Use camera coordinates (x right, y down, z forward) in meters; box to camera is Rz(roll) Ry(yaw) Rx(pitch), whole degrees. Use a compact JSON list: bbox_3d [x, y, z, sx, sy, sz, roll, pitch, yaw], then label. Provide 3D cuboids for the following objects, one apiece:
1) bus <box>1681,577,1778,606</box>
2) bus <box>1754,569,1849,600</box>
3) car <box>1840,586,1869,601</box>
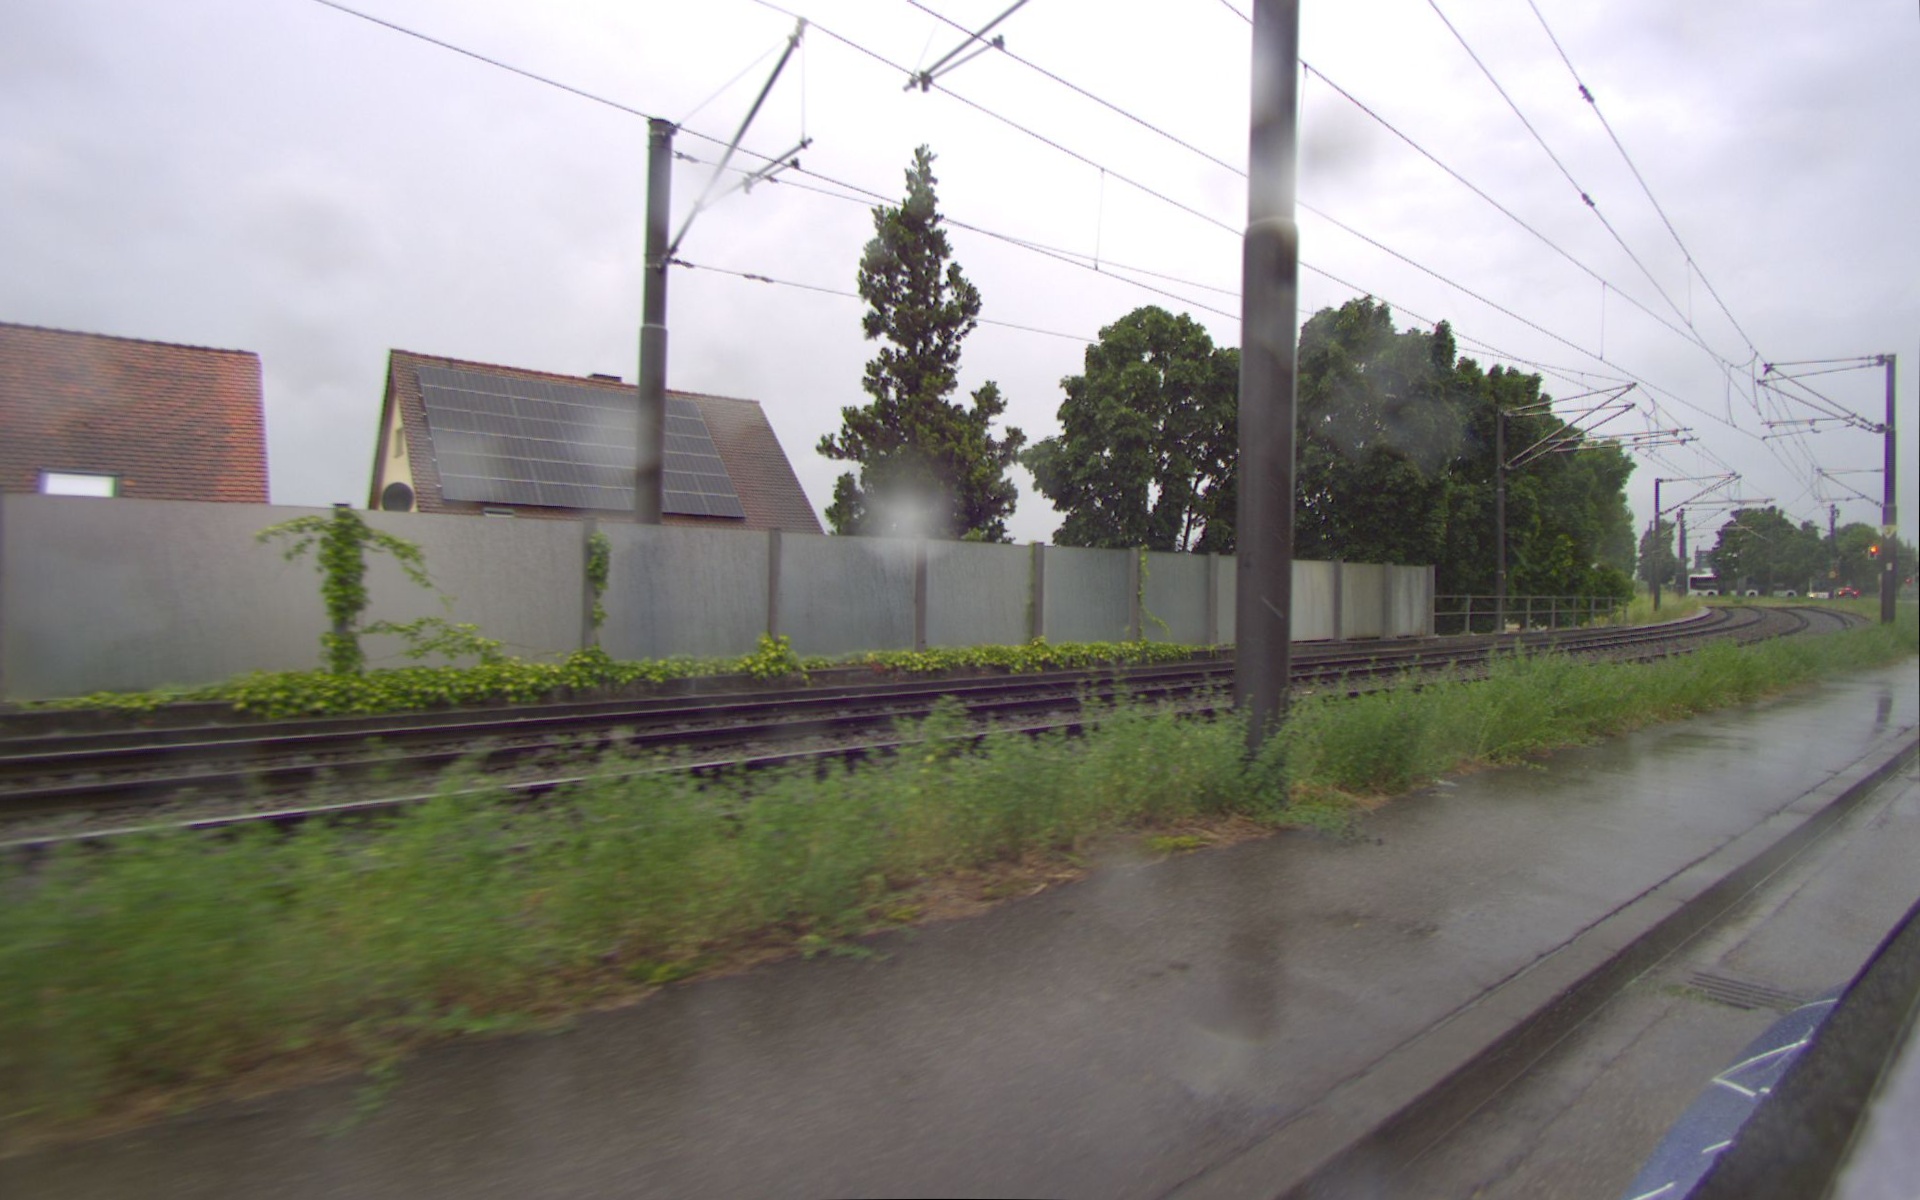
[{"bbox_3d":[88.806,-1.001,117.071,2.624,3.116,10.009,-1,1,-7],"label":"bus"},{"bbox_3d":[88.890,-1.673,107.217,2.632,3.116,9.977,0,1,7],"label":"bus"},{"bbox_3d":[97.938,-0.685,110.844,1.754,1.556,3.834,1,2,31],"label":"car"}]
